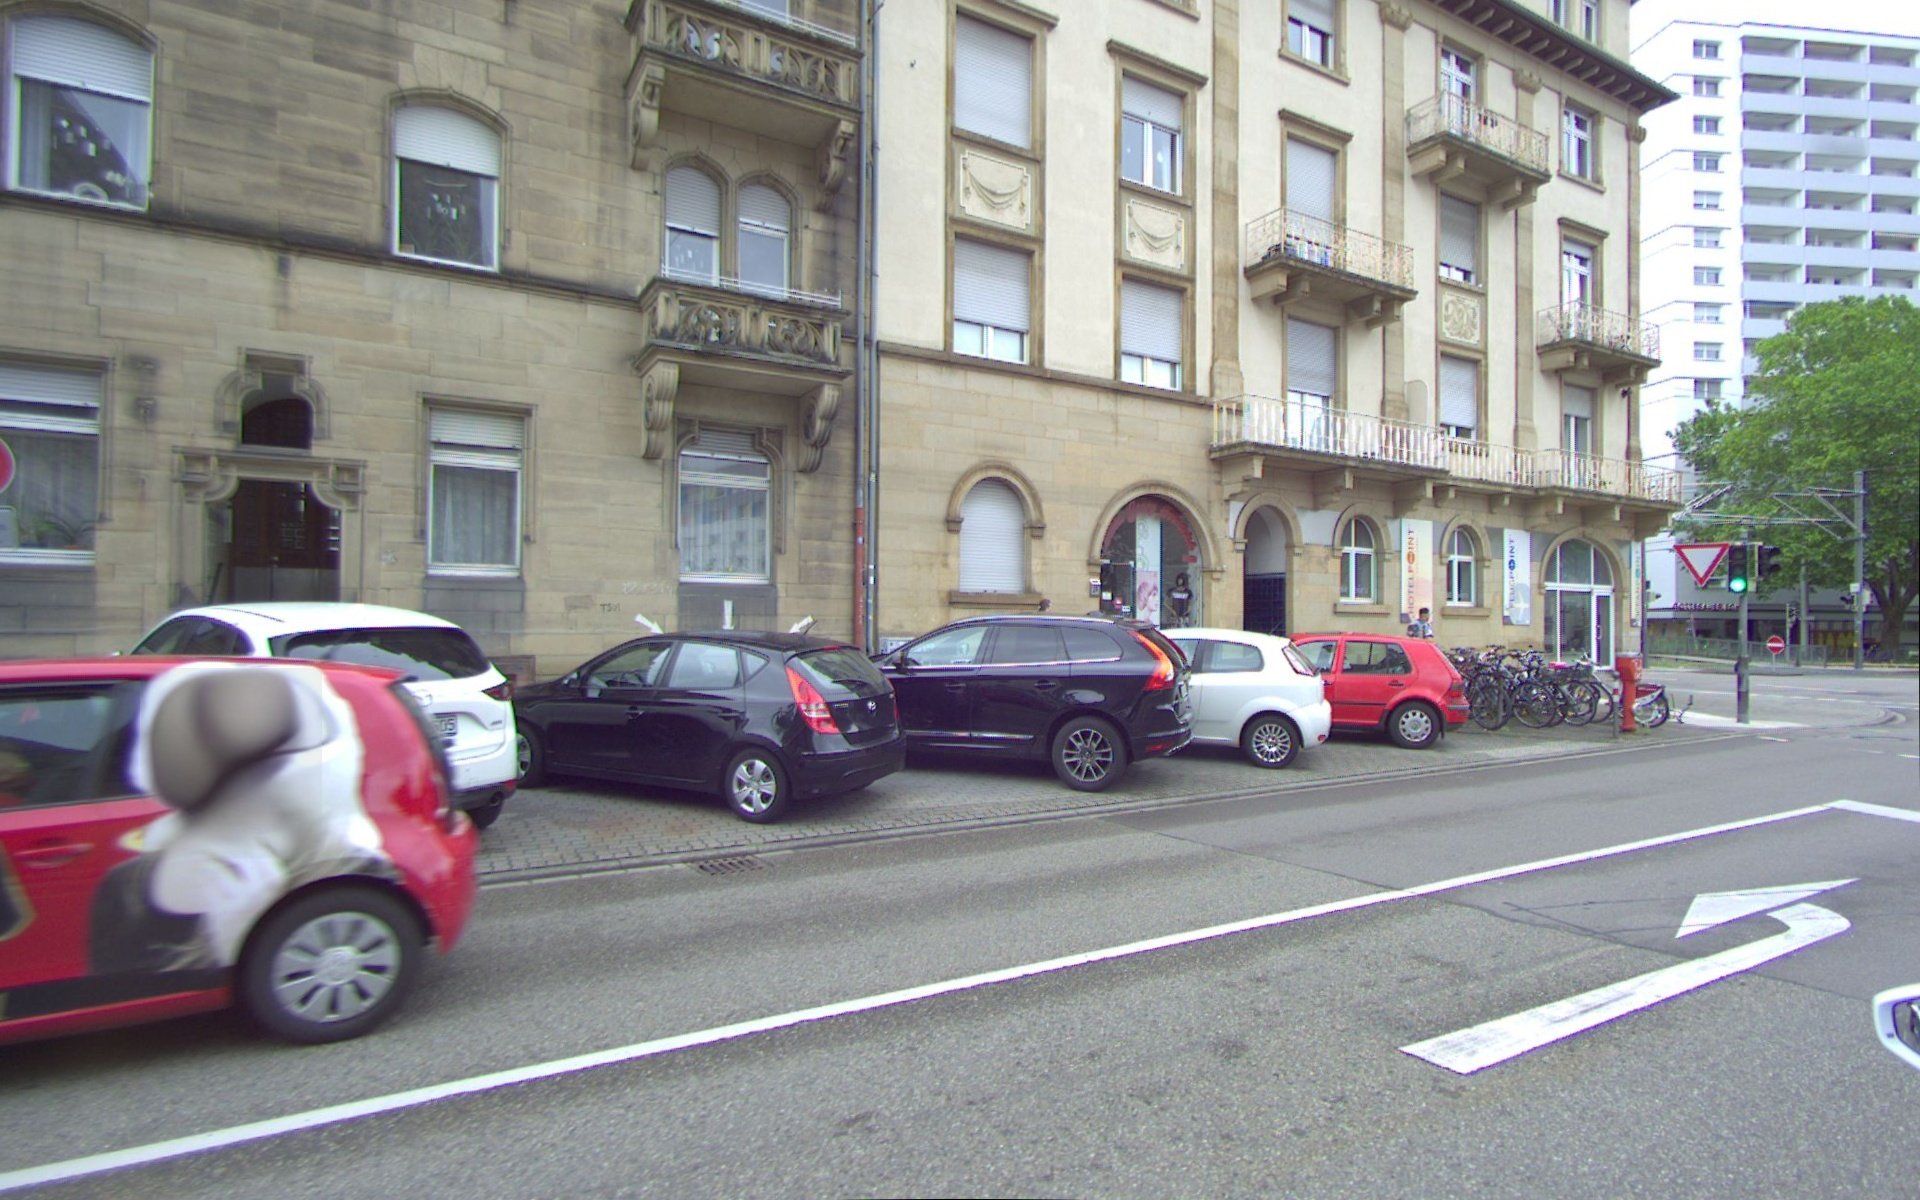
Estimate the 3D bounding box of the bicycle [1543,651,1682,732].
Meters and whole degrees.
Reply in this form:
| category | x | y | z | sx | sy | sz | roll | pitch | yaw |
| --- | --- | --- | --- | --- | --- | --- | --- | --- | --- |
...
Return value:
| category | x | y | z | sx | sy | sz | roll | pitch | yaw |
| --- | --- | --- | --- | --- | --- | --- | --- | --- | --- |
| bicycle | 10.771 | 1.477 | 16.653 | 0.437 | 1.050 | 1.876 | 1 | 4 | -31 |

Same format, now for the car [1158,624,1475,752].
| category | x | y | z | sx | sy | sz | roll | pitch | yaw |
| --- | --- | --- | --- | --- | --- | --- | --- | --- | --- |
| car | 4.792 | 1.152 | 14.004 | 3.919 | 1.492 | 1.685 | 1 | 0 | 12 |

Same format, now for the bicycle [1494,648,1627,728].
| category | x | y | z | sx | sy | sz | roll | pitch | yaw |
| --- | --- | --- | --- | --- | --- | --- | --- | --- | --- |
| bicycle | 10.037 | 1.442 | 16.877 | 0.437 | 1.050 | 1.876 | 1 | 4 | -31 |

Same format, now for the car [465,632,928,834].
| category | x | y | z | sx | sy | sz | roll | pitch | yaw |
| --- | --- | --- | --- | --- | --- | --- | --- | --- | --- |
| car | -2.434 | 1.066 | 9.290 | 3.924 | 1.514 | 1.731 | 0 | -2 | 24 |

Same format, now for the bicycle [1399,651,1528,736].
| category | x | y | z | sx | sy | sz | roll | pitch | yaw |
| --- | --- | --- | --- | --- | --- | --- | --- | --- | --- |
| bicycle | 7.762 | 1.408 | 15.583 | 0.436 | 1.050 | 1.880 | 1 | 3 | -26 |

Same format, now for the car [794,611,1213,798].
| category | x | y | z | sx | sy | sz | roll | pitch | yaw |
| --- | --- | --- | --- | --- | --- | --- | --- | --- | --- |
| car | 0.501 | 0.991 | 10.741 | 4.141 | 1.673 | 1.732 | 0 | -1 | 19 |

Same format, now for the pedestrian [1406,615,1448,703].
| category | x | y | z | sx | sy | sz | roll | pitch | yaw |
| --- | --- | --- | --- | --- | --- | --- | --- | --- | --- |
| pedestrian | 9.686 | 1.215 | 20.852 | 0.544 | 1.809 | 0.564 | 1 | -2 | -28 |

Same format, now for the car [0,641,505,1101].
| category | x | y | z | sx | sy | sz | roll | pitch | yaw |
| --- | --- | --- | --- | --- | --- | --- | --- | --- | --- |
| car | -3.713 | 0.900 | 3.841 | 3.469 | 1.466 | 1.642 | 1 | -2 | -30 |

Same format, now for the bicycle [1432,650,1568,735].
| category | x | y | z | sx | sy | sz | roll | pitch | yaw |
| --- | --- | --- | --- | --- | --- | --- | --- | --- | --- |
| bicycle | 8.502 | 1.424 | 15.909 | 0.437 | 1.050 | 1.876 | 1 | 4 | -31 |

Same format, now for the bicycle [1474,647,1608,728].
| category | x | y | z | sx | sy | sz | roll | pitch | yaw |
| --- | --- | --- | --- | --- | --- | --- | --- | --- | --- |
| bicycle | 9.511 | 1.410 | 16.531 | 0.437 | 1.050 | 1.876 | 1 | 4 | -31 |

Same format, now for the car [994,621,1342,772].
| category | x | y | z | sx | sy | sz | roll | pitch | yaw |
| --- | --- | --- | --- | --- | --- | --- | --- | --- | --- |
| car | 2.538 | 1.080 | 12.342 | 3.920 | 1.492 | 1.565 | 2 | 0 | 19 |

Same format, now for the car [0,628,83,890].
| category | x | y | z | sx | sy | sz | roll | pitch | yaw |
| --- | --- | --- | --- | --- | --- | --- | --- | --- | --- |
| car | -7.525 | 0.897 | 6.258 | 3.738 | 1.517 | 1.569 | 2 | -1 | 22 |

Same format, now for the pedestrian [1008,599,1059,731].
| category | x | y | z | sx | sy | sz | roll | pitch | yaw |
| --- | --- | --- | --- | --- | --- | --- | --- | --- | --- |
| pedestrian | 1.134 | 0.992 | 15.504 | 0.544 | 1.984 | 0.617 | 1 | -2 | -28 |

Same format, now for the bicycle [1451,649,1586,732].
| category | x | y | z | sx | sy | sz | roll | pitch | yaw |
| --- | --- | --- | --- | --- | --- | --- | --- | --- | --- |
| bicycle | 8.953 | 1.417 | 16.187 | 0.437 | 1.050 | 1.876 | 1 | 4 | -31 |

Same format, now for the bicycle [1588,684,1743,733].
| category | x | y | z | sx | sy | sz | roll | pitch | yaw |
| --- | --- | --- | --- | --- | --- | --- | --- | --- | --- |
| bicycle | 11.814 | 1.790 | 16.874 | 1.017 | 0.451 | 1.876 | 0 | 4 | -31 |

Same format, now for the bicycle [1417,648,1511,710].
| category | x | y | z | sx | sy | sz | roll | pitch | yaw |
| --- | --- | --- | --- | --- | --- | --- | --- | --- | --- |
| bicycle | 9.045 | 1.388 | 17.998 | 1.973 | 1.041 | 0.499 | 1 | -2 | -30 |

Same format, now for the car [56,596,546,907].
| category | x | y | z | sx | sy | sz | roll | pitch | yaw |
| --- | --- | --- | --- | --- | --- | --- | --- | --- | --- |
| car | -5.074 | 0.879 | 7.576 | 3.935 | 1.746 | 1.834 | 0 | -1 | 37 |
